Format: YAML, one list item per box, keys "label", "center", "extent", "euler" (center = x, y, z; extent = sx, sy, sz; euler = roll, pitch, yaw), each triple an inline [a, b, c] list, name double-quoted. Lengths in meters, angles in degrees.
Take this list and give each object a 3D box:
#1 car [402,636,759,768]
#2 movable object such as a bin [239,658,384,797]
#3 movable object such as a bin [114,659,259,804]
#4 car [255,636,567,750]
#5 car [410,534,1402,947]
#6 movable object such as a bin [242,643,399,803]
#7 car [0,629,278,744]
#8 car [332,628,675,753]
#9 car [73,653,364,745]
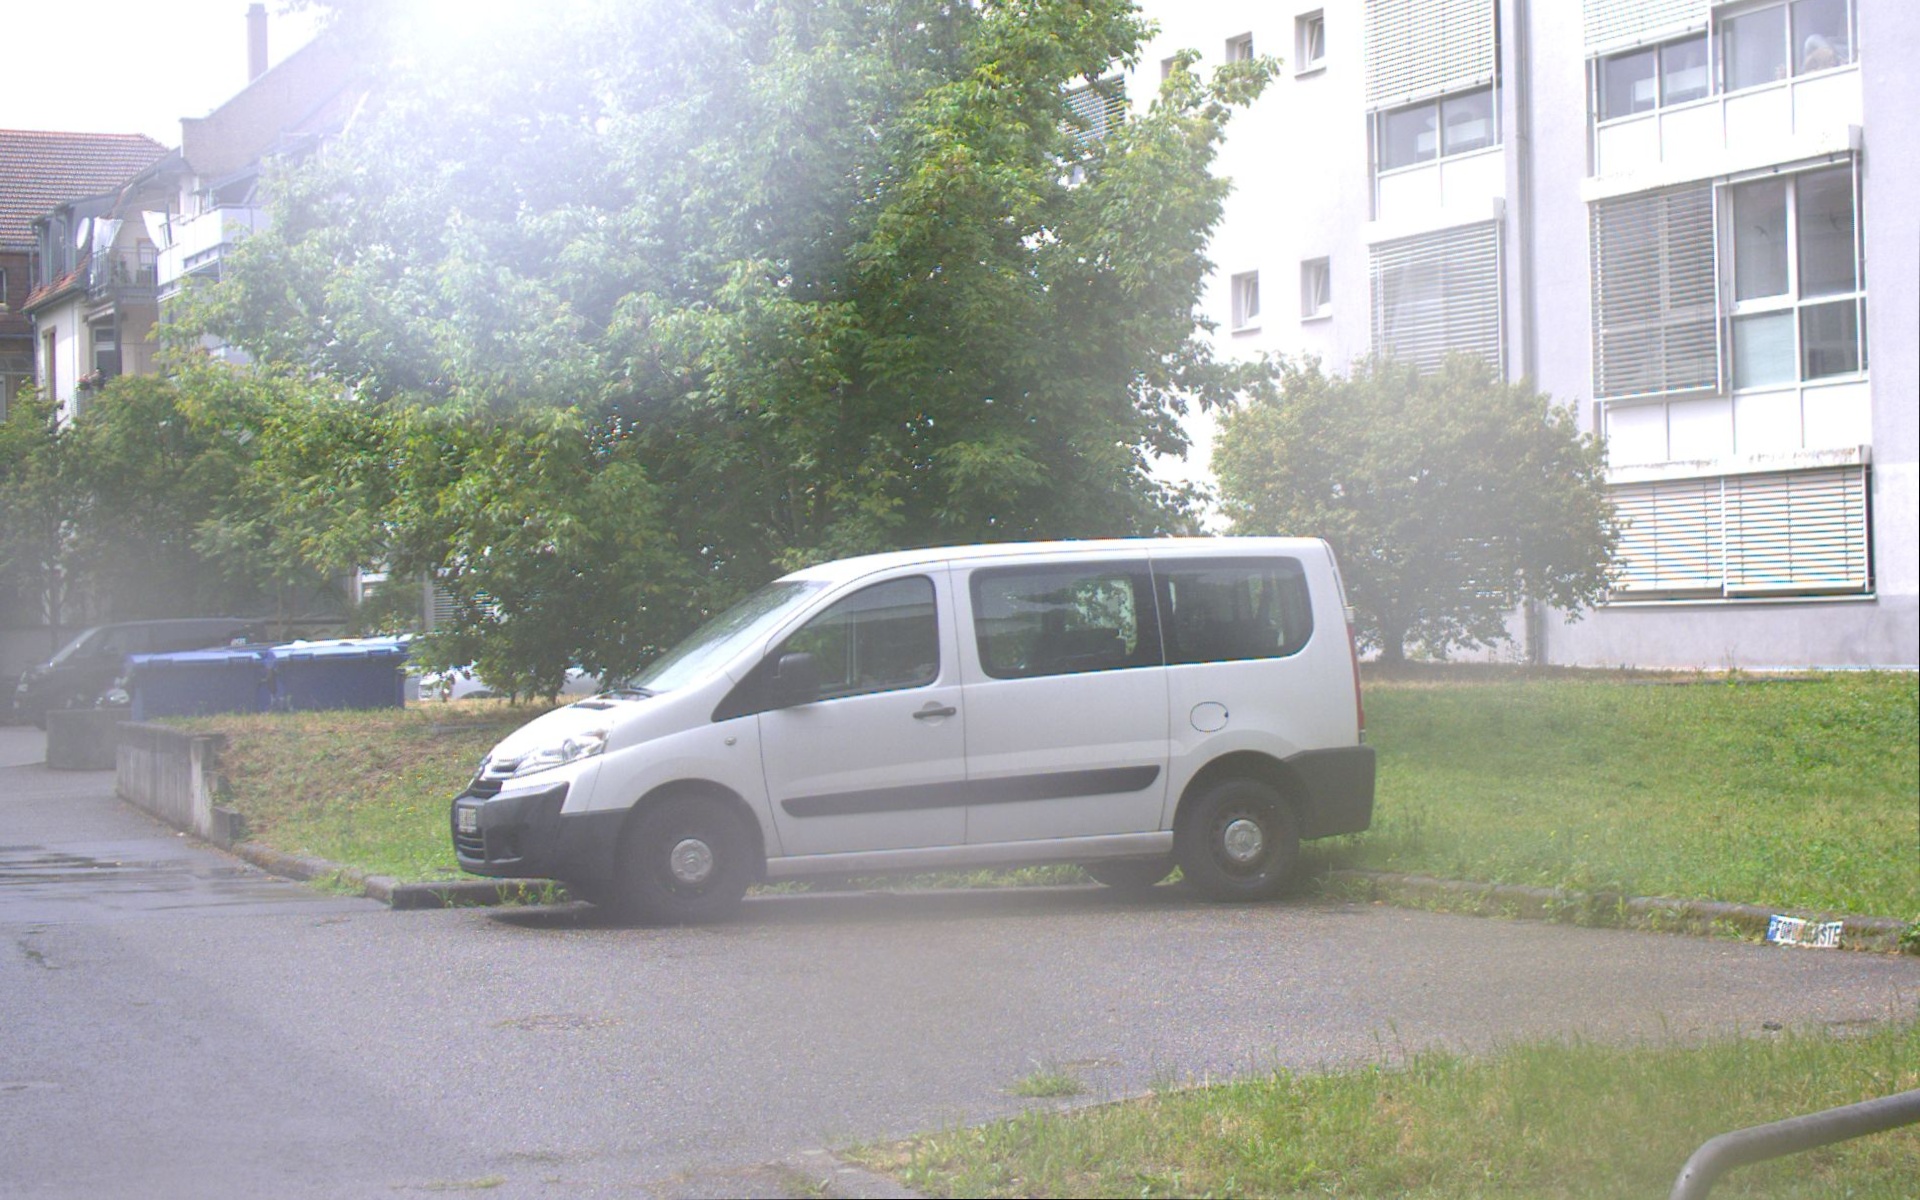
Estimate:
- label: "car"
  center: [-4.674, 1.235, 42.276]
  extent: [3.986, 1.350, 1.791]
  euler: [-3, 0, -21]
- label: "movable object such as a bin"
  center: [-6.509, 1.266, 34.485]
  extent: [1.229, 1.313, 1.056]
  euler: [-1, 0, -21]
- label: "movable object such as a bin"
  center: [-7.281, 1.224, 32.324]
  extent: [1.174, 1.313, 1.056]
  euler: [1, 0, -21]
- label: "car"
  center: [-7.994, 1.337, 50.061]
  extent: [4.097, 1.450, 1.833]
  euler: [-2, 0, -24]
- label: "car"
  center: [-0.326, 0.689, 18.423]
  extent: [4.935, 2.007, 2.000]
  euler: [0, -1, -17]
- label: "movable object such as a bin"
  center: [-6.099, 1.161, 32.744]
  extent: [1.274, 1.478, 1.102]
  euler: [1, 0, -21]
- label: "car"
  center: [-14.921, 1.533, 61.945]
  extent: [4.709, 1.827, 2.111]
  euler: [-2, 0, -27]
- label: "car"
  center: [-5.939, 1.169, 44.755]
  extent: [4.079, 1.453, 1.668]
  euler: [-2, -1, -24]
- label: "car"
  center: [-12.242, 1.614, 56.795]
  extent: [4.353, 1.344, 1.860]
  euler: [-1, 0, -27]
